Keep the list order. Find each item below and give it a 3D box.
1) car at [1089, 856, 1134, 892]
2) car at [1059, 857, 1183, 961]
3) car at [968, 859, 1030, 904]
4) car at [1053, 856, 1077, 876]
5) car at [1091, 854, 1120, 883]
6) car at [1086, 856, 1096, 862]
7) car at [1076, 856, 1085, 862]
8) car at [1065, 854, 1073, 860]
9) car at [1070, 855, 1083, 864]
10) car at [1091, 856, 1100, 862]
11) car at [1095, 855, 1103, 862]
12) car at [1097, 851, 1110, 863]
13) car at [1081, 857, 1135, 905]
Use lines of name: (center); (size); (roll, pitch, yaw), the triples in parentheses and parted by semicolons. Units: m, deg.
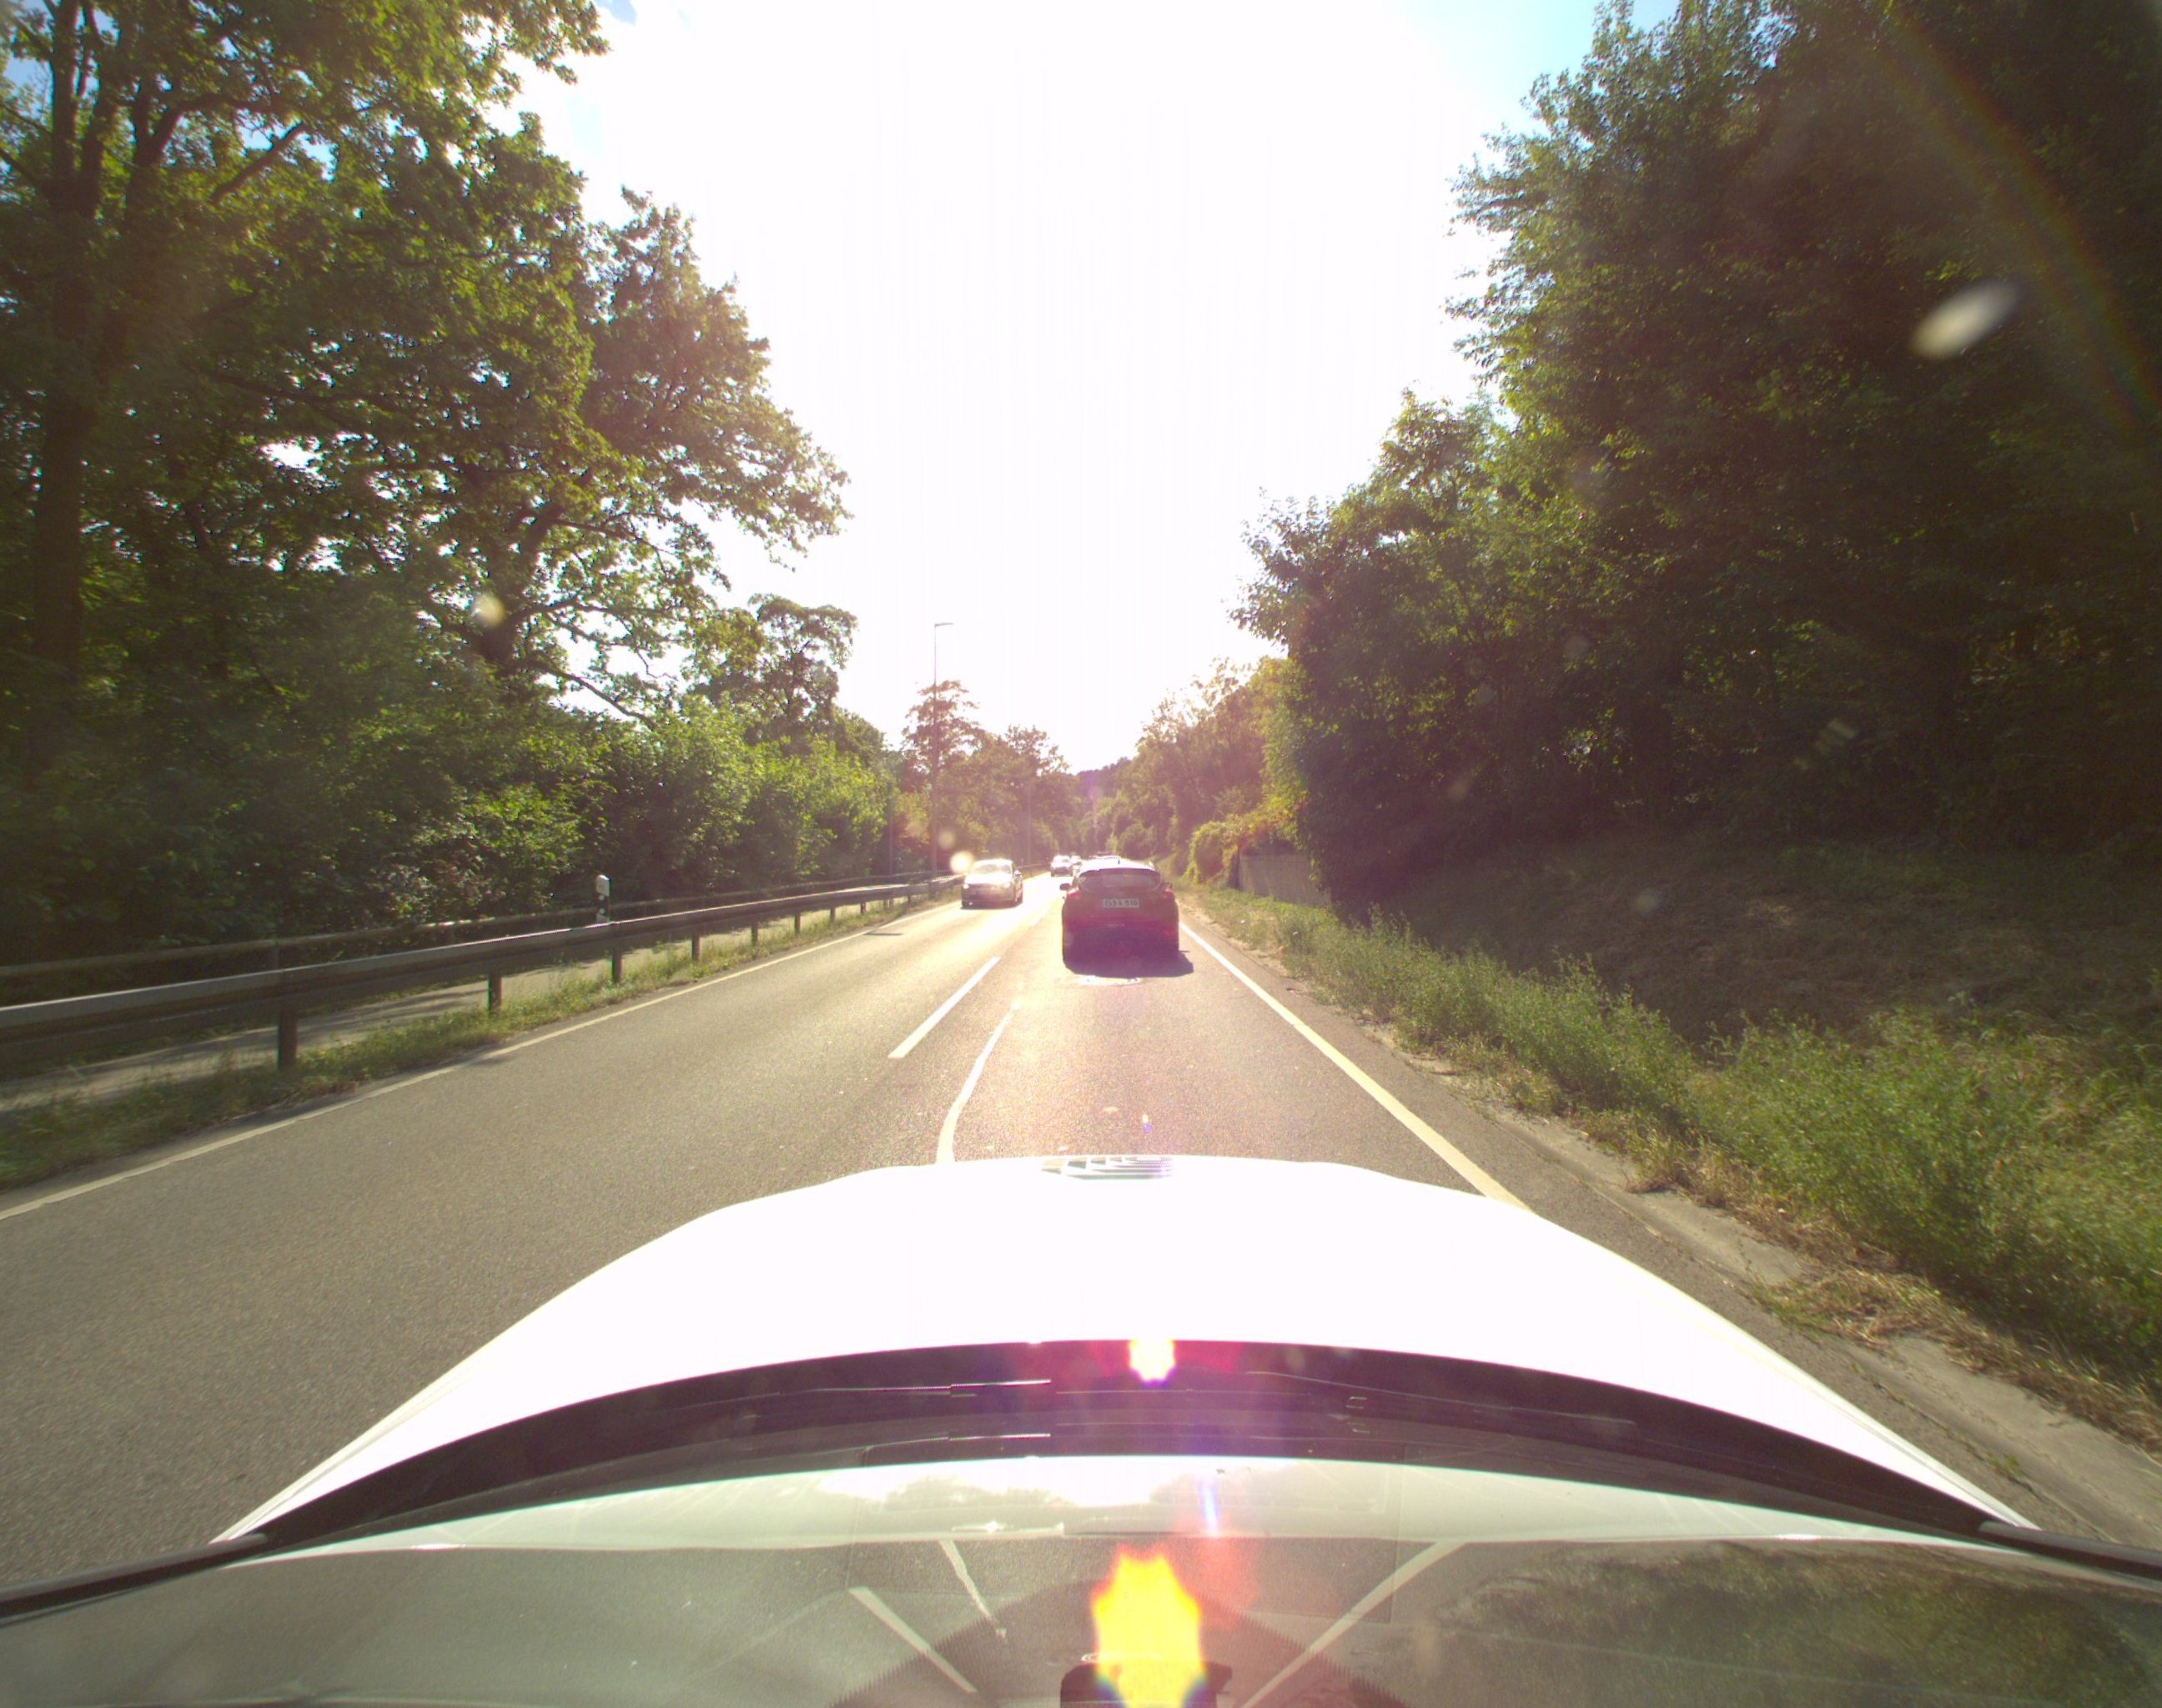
car: (1.292, 0.809, 34.951); (1.798, 1.391, 4.002); (-1, 0, 2)
car: (0.634, 0.785, 13.488); (1.733, 1.456, 4.002); (-1, 0, 2)
car: (-2.764, 0.892, 28.183); (1.617, 1.377, 4.048); (-1, 0, 1)
car: (-1.255, 0.912, 64.681); (1.675, 1.463, 4.199); (-1, 0, 1)
car: (1.435, 0.797, 47.592); (1.624, 1.596, 4.002); (-1, 0, 2)
car: (2.483, 1.220, 203.212); (1.991, 1.519, 3.992); (-1, 0, -6)
car: (-0.166, 1.376, 233.890); (1.991, 1.519, 3.992); (-1, 0, -6)
car: (-3.765, 0.937, 253.538); (1.993, 1.519, 3.987); (-1, 0, -10)
car: (-0.629, 0.796, 123.026); (1.768, 1.387, 4.002); (-1, 0, 2)
car: (3.407, 1.160, 192.789); (1.986, 1.519, 4.002); (-1, 0, 2)
car: (3.985, 0.891, 178.780); (1.812, 1.519, 4.002); (-1, 0, 2)
car: (3.404, 0.486, 125.004); (1.857, 1.780, 3.999); (-1, 0, 0)
car: (0.945, 0.845, 27.010); (1.654, 1.418, 4.004); (-1, 0, 3)
